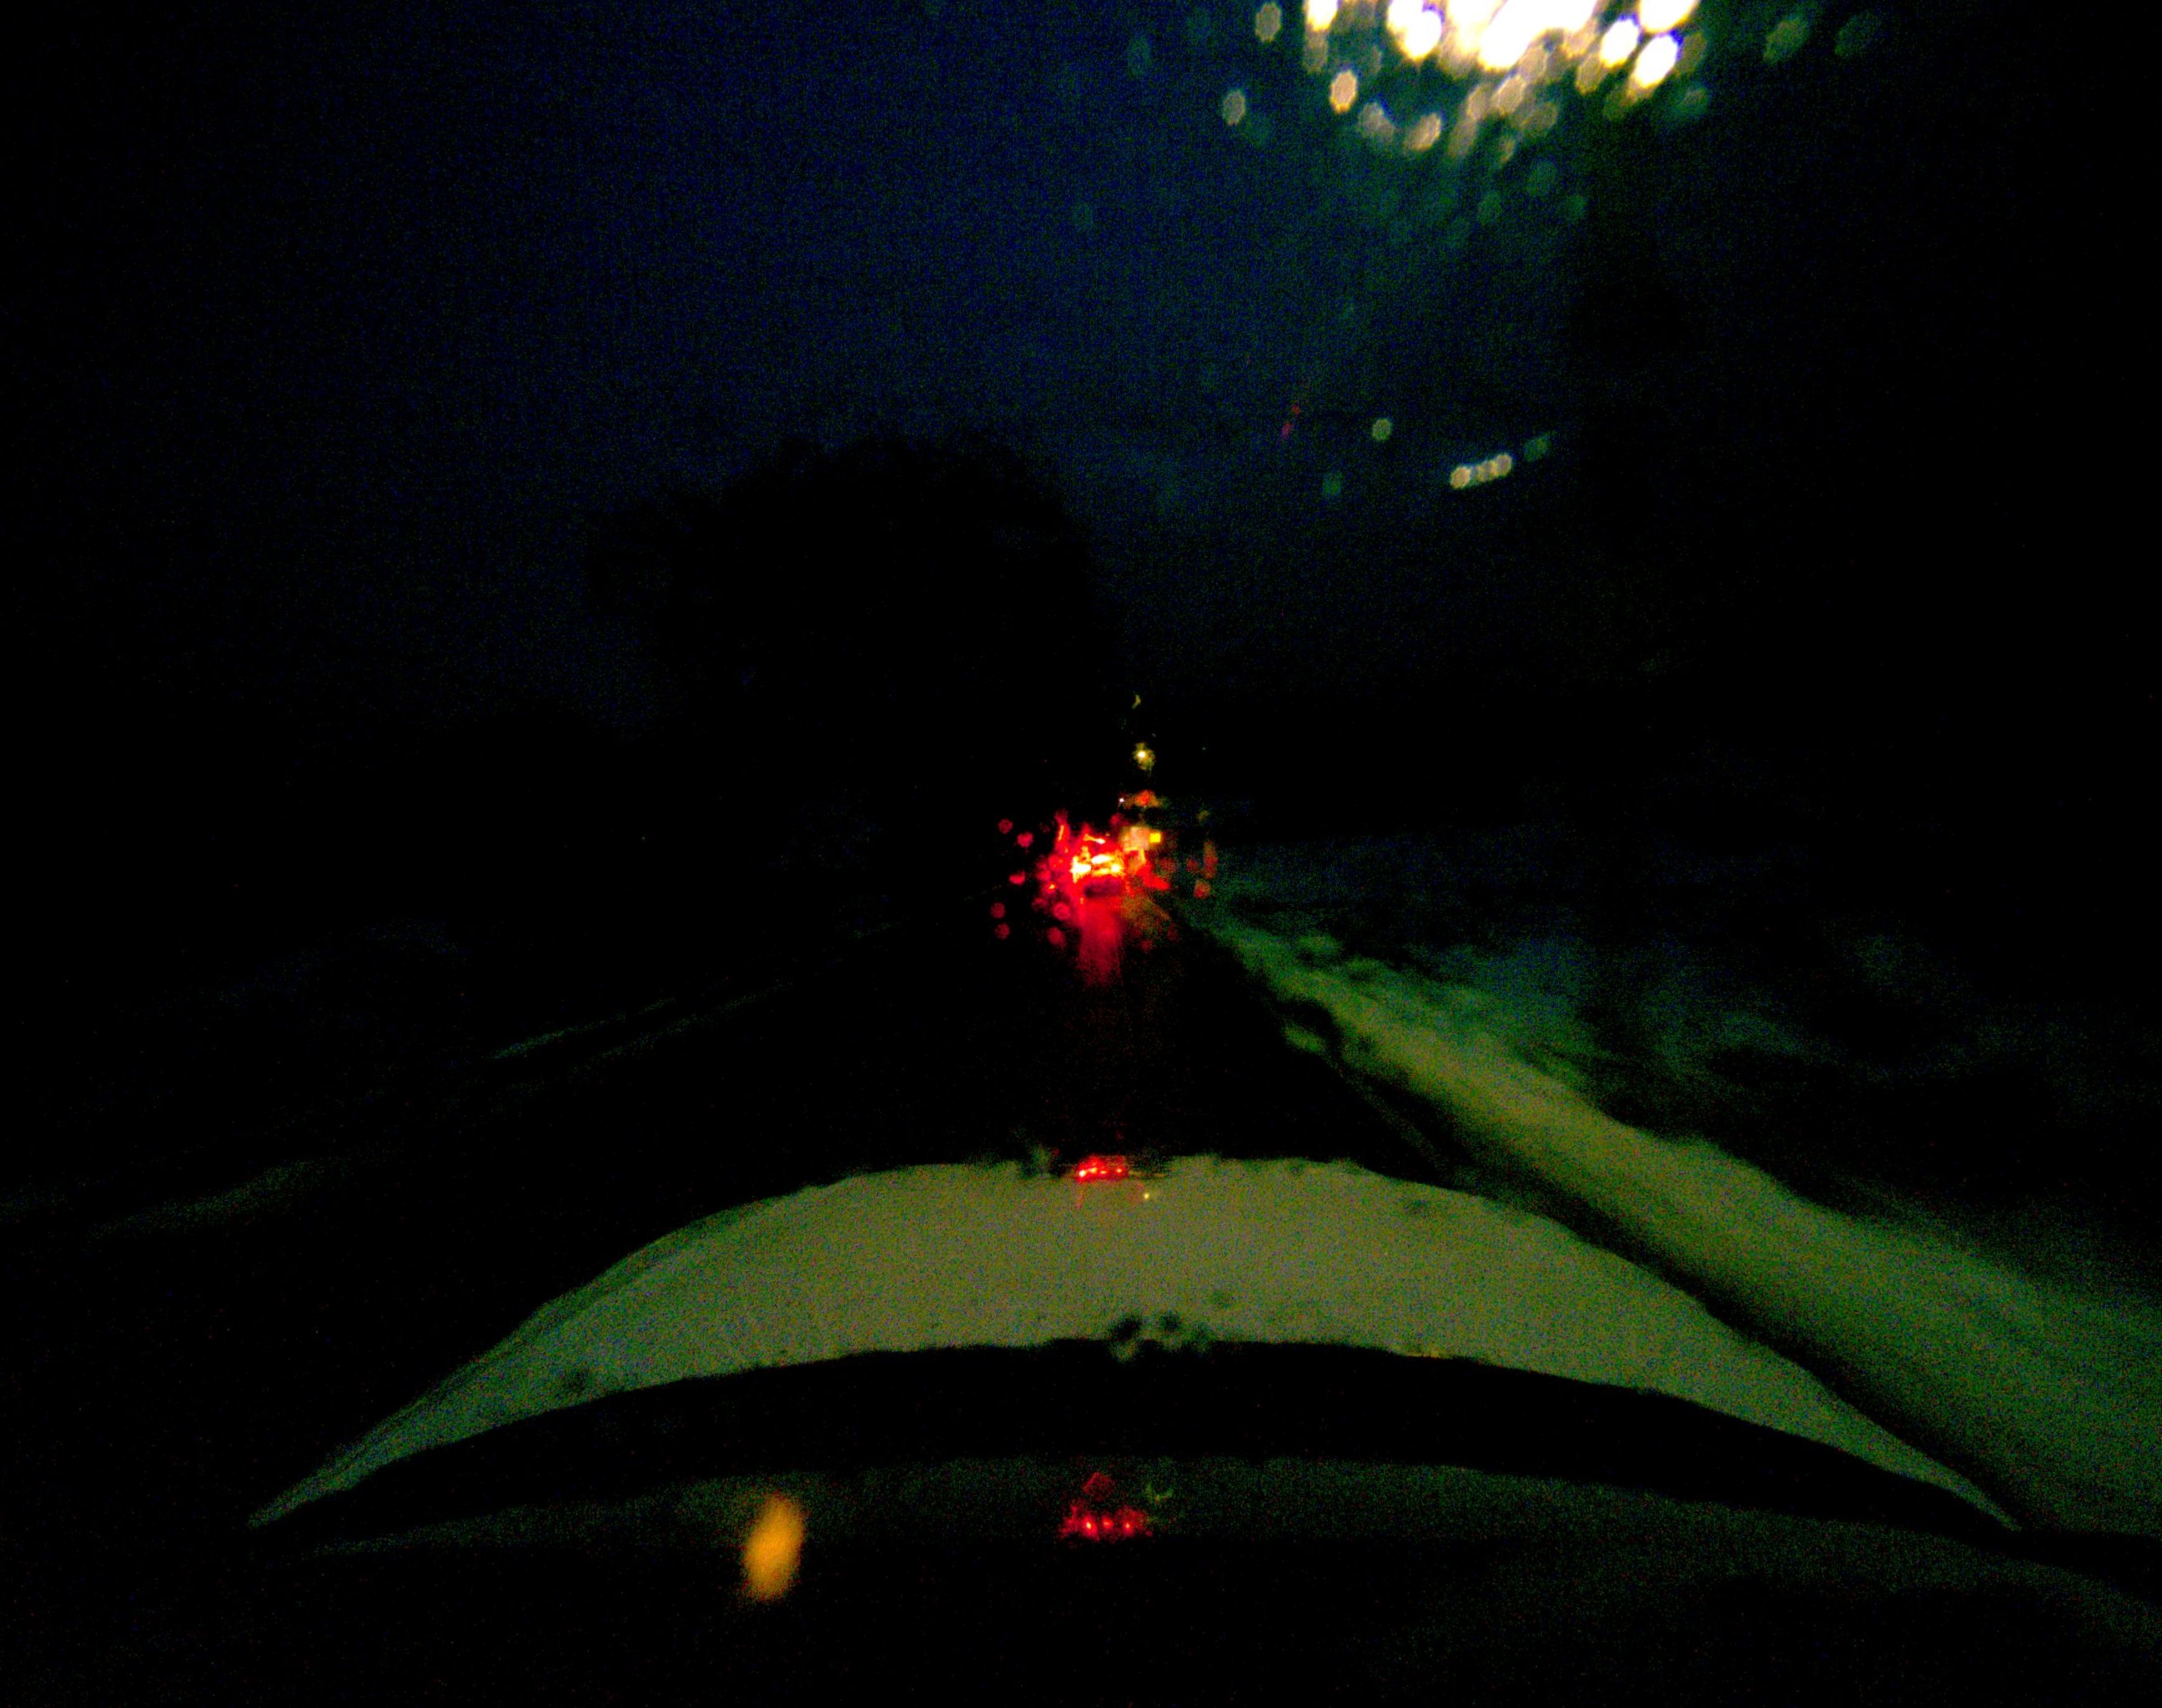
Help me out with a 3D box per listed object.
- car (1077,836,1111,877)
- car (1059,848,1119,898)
[{"bbox_3d":[1.102,0.266,65.770,2.425,3.019,5.328,-3,-2,3],"label":"car"},{"bbox_3d":[0.346,0.787,33.606,2.266,1.841,5.007,-2,-1,1],"label":"car"}]
